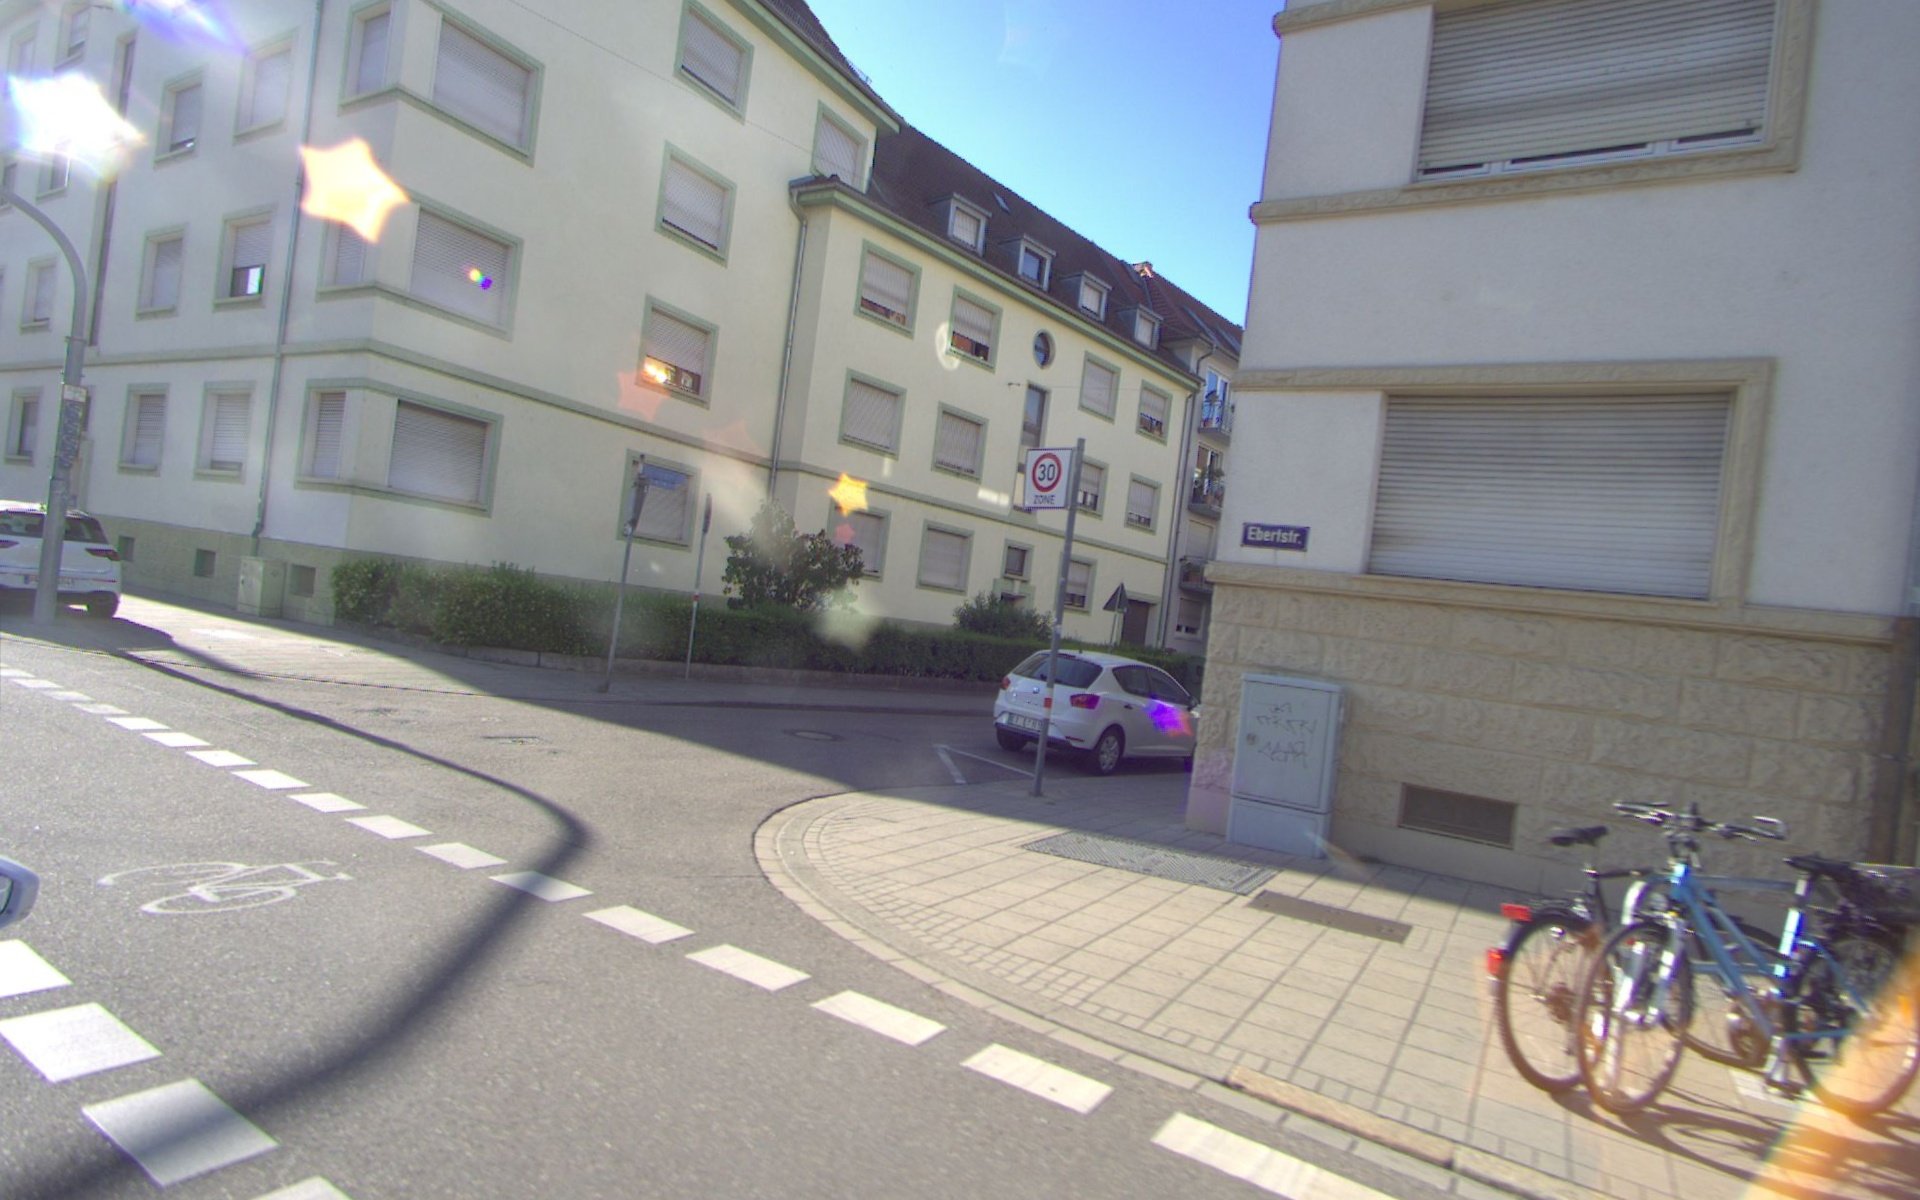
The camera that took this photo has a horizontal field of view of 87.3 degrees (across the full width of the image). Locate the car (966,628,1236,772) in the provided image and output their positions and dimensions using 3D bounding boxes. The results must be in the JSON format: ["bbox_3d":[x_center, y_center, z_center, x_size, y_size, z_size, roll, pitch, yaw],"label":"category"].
[{"bbox_3d":[2.012,1.405,13.511,1.689,1.439,3.729,6,-4,42],"label":"car"}]

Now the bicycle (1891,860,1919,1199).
[{"bbox_3d":[4.042,1.496,3.322,1.888,1.099,0.473,6,-3,-16],"label":"bicycle"}]

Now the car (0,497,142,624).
[{"bbox_3d":[-13.337,-0.682,13.984,4.307,1.476,1.696,7,0,32],"label":"car"}]

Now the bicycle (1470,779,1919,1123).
[{"bbox_3d":[3.017,1.349,3.929,1.888,1.101,0.472,6,3,-15],"label":"bicycle"}]

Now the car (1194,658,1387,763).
[{"bbox_3d":[5.903,1.995,17.680,1.689,1.352,3.959,6,-4,42],"label":"car"}]

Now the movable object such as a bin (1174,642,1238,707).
[{"bbox_3d":[6.769,2.051,27.679,1.176,1.575,1.058,6,-3,40],"label":"movable object such as a bin"}]

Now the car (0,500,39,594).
[{"bbox_3d":[-17.467,-1.101,16.887,4.011,1.476,1.639,7,0,28],"label":"car"}]
